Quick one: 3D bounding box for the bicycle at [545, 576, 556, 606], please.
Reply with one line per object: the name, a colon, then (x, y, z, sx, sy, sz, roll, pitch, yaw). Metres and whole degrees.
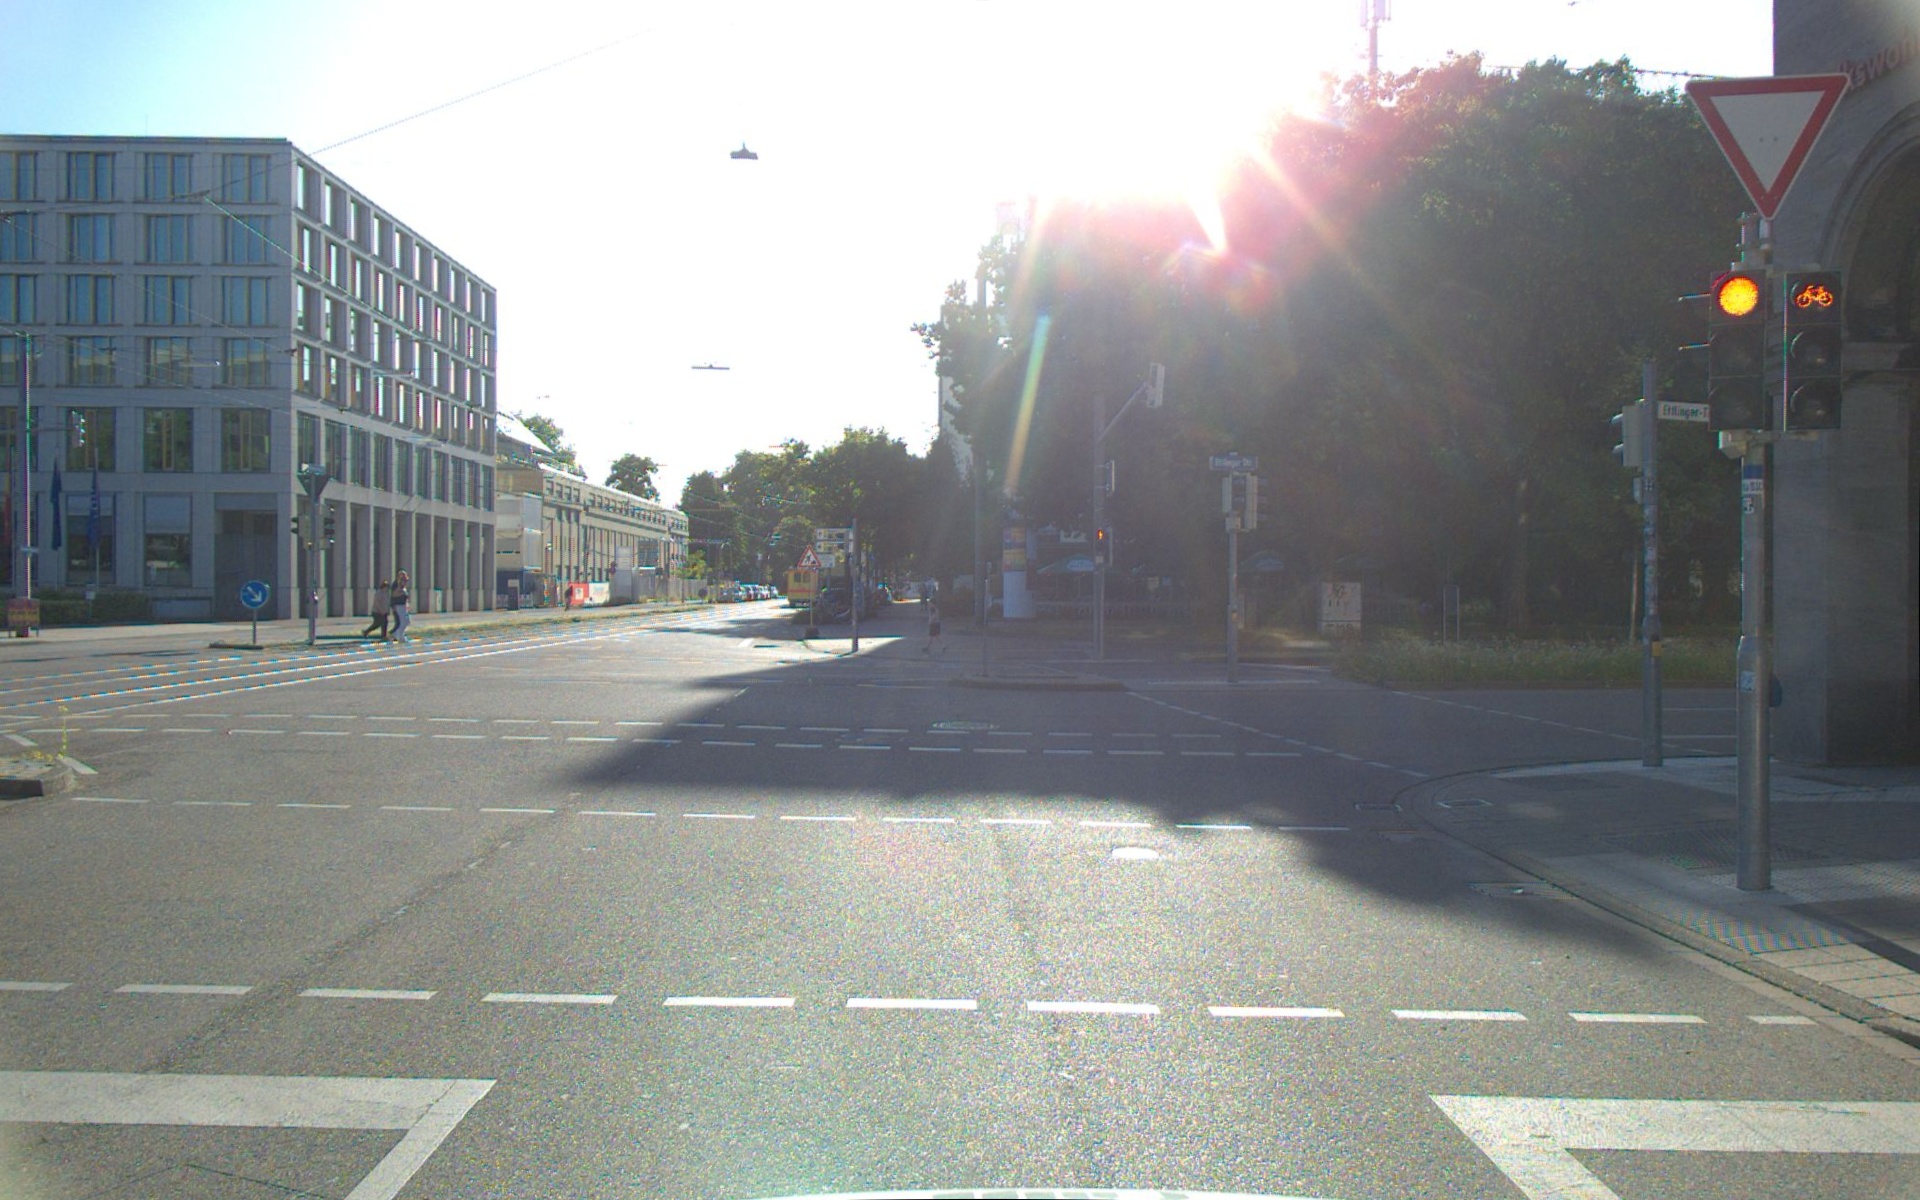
bicycle: (-32.116, -0.672, 129.743, 0.559, 2.336, 1.422, 0, 0, -2)

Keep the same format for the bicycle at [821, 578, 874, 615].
bicycle: (-5.513, -0.175, 81.237, 2.495, 1.774, 1.037, 1, 0, -1)

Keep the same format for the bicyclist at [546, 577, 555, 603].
bicyclist: (-32.114, -0.809, 129.756, 0.559, 2.059, 0.761, 0, 0, -2)

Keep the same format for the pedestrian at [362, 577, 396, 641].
pedestrian: (-15.404, 0.230, 43.847, 0.680, 1.673, 0.621, 0, 0, 0)

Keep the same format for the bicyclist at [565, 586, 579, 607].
bicyclist: (-25.385, -0.218, 108.204, 0.675, 1.351, 1.000, 1, 0, -1)

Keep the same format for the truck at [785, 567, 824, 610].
truck: (-11.492, -0.837, 122.385, 2.662, 3.068, 6.484, 0, 0, -4)

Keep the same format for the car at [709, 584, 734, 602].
car: (-22.470, -0.665, 156.020, 1.856, 1.635, 4.498, 0, 0, -3)

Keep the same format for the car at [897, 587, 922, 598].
car: (-6.384, -0.932, 211.059, 3.153, 1.285, 1.372, 1, 0, -2)

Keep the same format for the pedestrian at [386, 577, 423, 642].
pedestrian: (-14.445, 0.243, 43.022, 0.777, 1.673, 0.620, 0, 0, -5)

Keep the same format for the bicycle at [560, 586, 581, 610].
bicycle: (-25.433, -0.125, 108.132, 0.675, 1.538, 2.944, 1, 0, -1)

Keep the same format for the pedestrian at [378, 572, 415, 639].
pedestrian: (-15.141, 0.146, 44.448, 0.732, 1.792, 0.678, -1, -1, 4)

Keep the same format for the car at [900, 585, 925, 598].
car: (-6.114, -1.088, 213.352, 3.152, 1.616, 1.445, 1, 0, -5)

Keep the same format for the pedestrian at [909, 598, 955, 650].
pedestrian: (-0.749, 0.629, 43.807, 0.761, 1.340, 0.980, 0, 0, -45)
